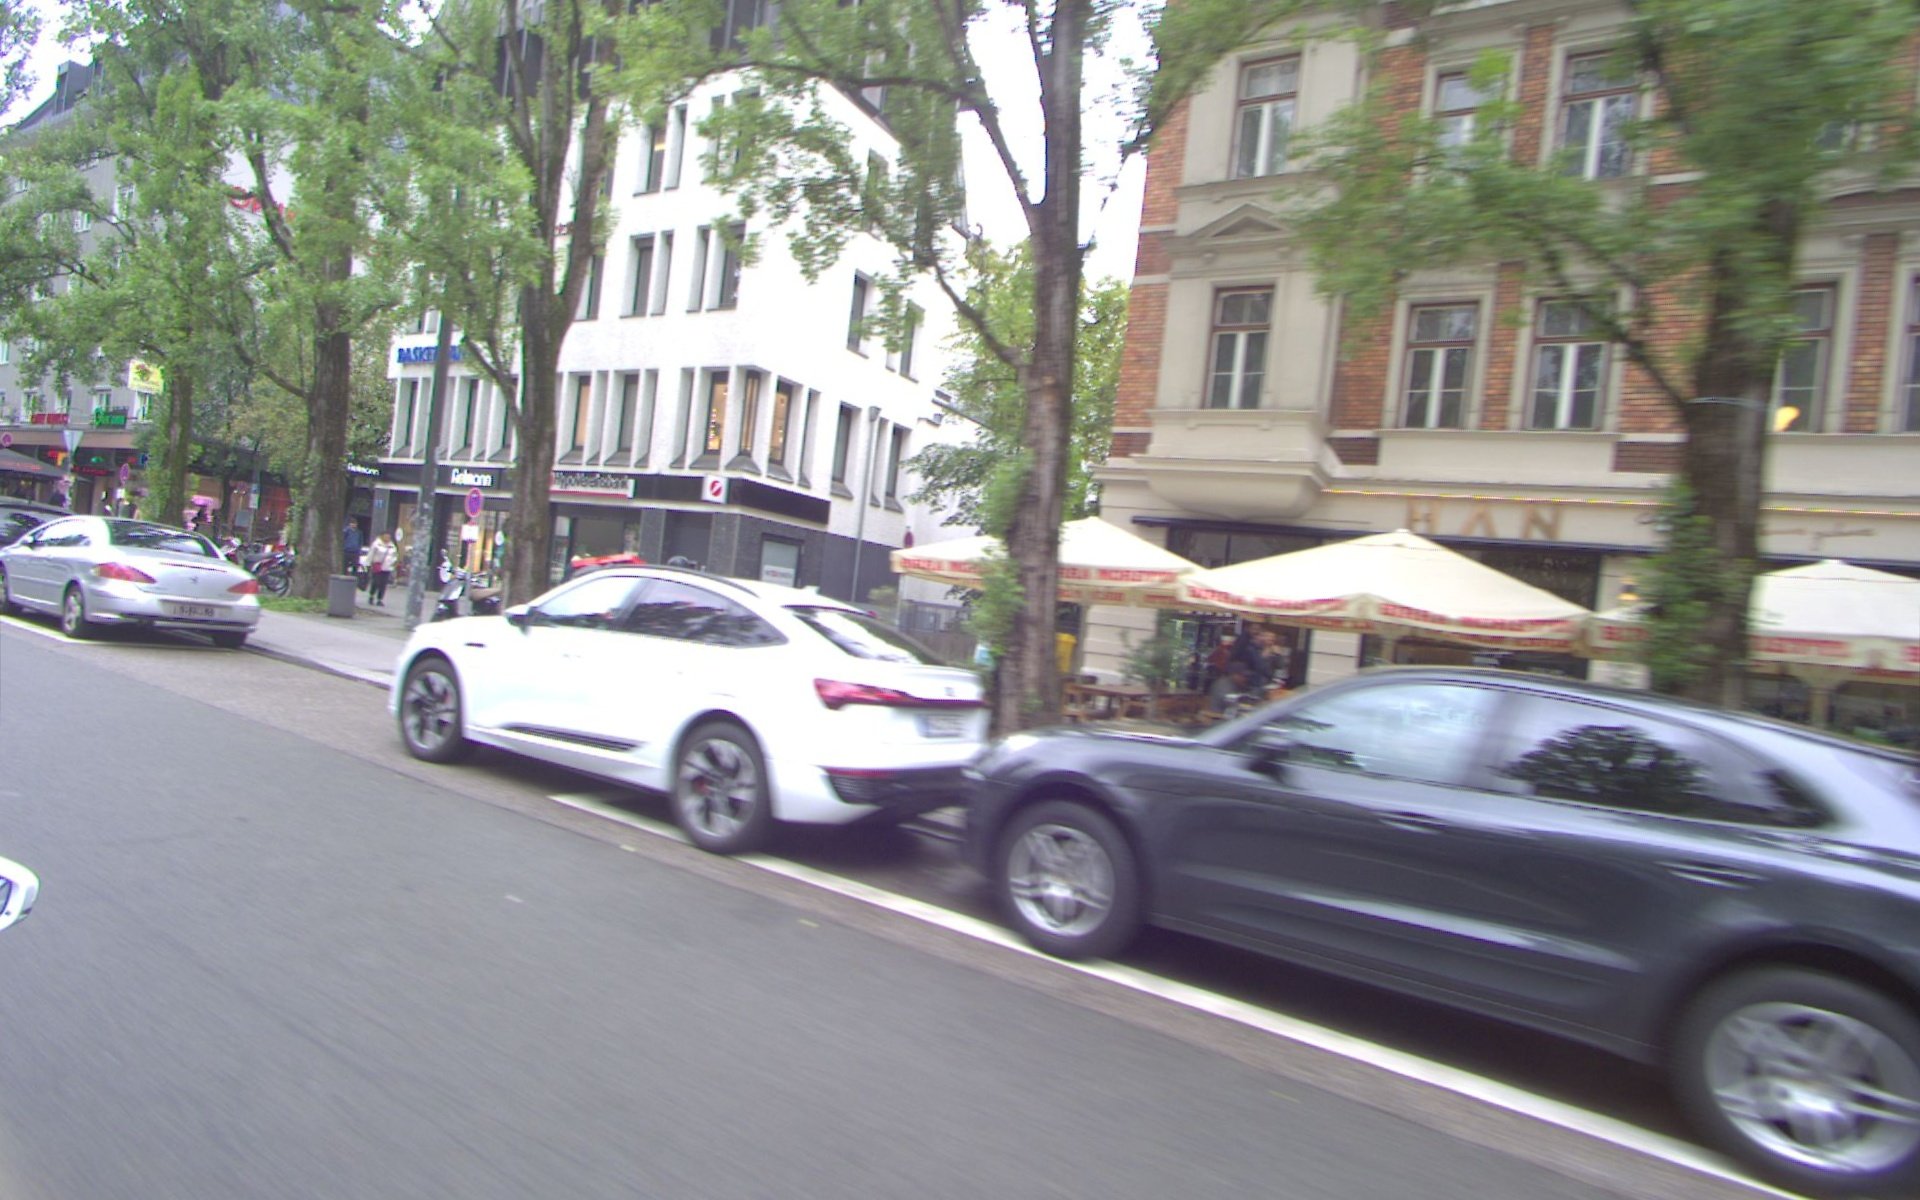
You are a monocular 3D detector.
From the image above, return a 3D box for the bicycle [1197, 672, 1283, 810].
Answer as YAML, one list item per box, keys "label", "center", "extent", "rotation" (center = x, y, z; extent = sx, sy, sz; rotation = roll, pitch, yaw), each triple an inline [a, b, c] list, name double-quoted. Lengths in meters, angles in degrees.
- label: "bicycle"
  center: [2.718, 1.289, 9.637]
  extent: [0.364, 1.153, 1.834]
  rotation: [7, 0, 25]

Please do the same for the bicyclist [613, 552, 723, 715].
- label: "bicyclist"
  center: [-3.081, 0.353, 10.633]
  extent: [0.740, 1.608, 0.622]
  rotation: [7, 1, 31]

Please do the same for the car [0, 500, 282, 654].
- label: "car"
  center: [-10.581, -0.325, 12.691]
  extent: [4.058, 1.422, 1.674]
  rotation: [7, -2, 31]

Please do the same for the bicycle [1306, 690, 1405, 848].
- label: "bicycle"
  center: [3.704, 1.491, 9.323]
  extent: [0.566, 1.207, 1.874]
  rotation: [7, 0, 27]

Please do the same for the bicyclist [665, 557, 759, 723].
- label: "bicyclist"
  center: [-2.529, 0.413, 10.298]
  extent: [0.473, 1.608, 0.622]
  rotation: [7, 1, 31]

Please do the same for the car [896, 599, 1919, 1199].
- label: "car"
  center: [2.142, 1.068, 4.816]
  extent: [4.408, 1.584, 1.996]
  rotation: [7, 0, 31]

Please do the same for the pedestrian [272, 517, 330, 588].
- label: "pedestrian"
  center: [-16.634, -1.187, 25.408]
  extent: [0.751, 1.646, 0.738]
  rotation: [7, -1, 11]

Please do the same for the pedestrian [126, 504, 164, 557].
- label: "pedestrian"
  center: [-29.377, -2.491, 36.243]
  extent: [0.845, 1.771, 0.655]
  rotation: [7, -1, 32]

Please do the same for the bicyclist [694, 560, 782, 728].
- label: "bicyclist"
  center: [-2.225, 0.447, 10.118]
  extent: [0.385, 1.608, 0.622]
  rotation: [7, 1, 31]

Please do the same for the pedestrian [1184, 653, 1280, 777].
- label: "pedestrian"
  center: [3.146, 1.298, 11.588]
  extent: [0.719, 1.283, 0.930]
  rotation: [7, 1, 30]

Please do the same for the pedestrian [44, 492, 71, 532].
- label: "pedestrian"
  center: [-37.420, -3.648, 41.713]
  extent: [0.476, 1.545, 0.641]
  rotation: [7, 1, 31]

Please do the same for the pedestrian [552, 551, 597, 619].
- label: "pedestrian"
  center: [-10.000, -0.388, 26.112]
  extent: [0.692, 1.647, 0.655]
  rotation: [7, 1, 29]

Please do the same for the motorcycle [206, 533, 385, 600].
- label: "motorcycle"
  center: [-14.703, -0.707, 22.417]
  extent: [1.172, 1.103, 3.127]
  rotation: [7, -1, 24]

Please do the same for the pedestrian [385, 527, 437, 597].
- label: "pedestrian"
  center: [-14.924, -1.029, 27.360]
  extent: [0.845, 1.771, 0.729]
  rotation: [7, -1, 29]

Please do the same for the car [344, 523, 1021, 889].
- label: "car"
  center: [-2.130, 0.543, 7.232]
  extent: [4.668, 1.640, 1.831]
  rotation: [7, -1, 31]

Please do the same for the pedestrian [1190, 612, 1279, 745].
- label: "pedestrian"
  center: [4.077, 1.152, 14.951]
  extent: [0.916, 1.825, 0.730]
  rotation: [7, 1, 32]

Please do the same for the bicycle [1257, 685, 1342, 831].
- label: "bicycle"
  center: [3.260, 1.442, 9.577]
  extent: [0.413, 1.207, 1.715]
  rotation: [7, 0, 27]

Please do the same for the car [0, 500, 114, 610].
- label: "car"
  center: [-14.763, -0.817, 15.334]
  extent: [3.523, 1.431, 1.685]
  rotation: [7, -2, 31]

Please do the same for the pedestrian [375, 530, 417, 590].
- label: "pedestrian"
  center: [-16.552, -1.177, 29.533]
  extent: [0.692, 1.647, 0.654]
  rotation: [7, 1, 29]

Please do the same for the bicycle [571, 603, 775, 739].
- label: "bicycle"
  center: [-3.055, 0.716, 10.598]
  extent: [2.225, 1.100, 0.627]
  rotation: [7, 1, 31]

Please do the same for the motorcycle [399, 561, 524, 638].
- label: "motorcycle"
  center: [-8.580, 0.021, 17.398]
  extent: [0.683, 1.153, 1.834]
  rotation: [6, 0, 25]

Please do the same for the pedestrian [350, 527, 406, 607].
- label: "pedestrian"
  center: [-12.712, -0.719, 21.975]
  extent: [0.693, 1.620, 0.655]
  rotation: [7, -1, 32]

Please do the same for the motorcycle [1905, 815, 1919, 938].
- label: "motorcycle"
  center: [7.124, 1.877, 6.613]
  extent: [0.683, 1.194, 1.834]
  rotation: [7, 0, 25]

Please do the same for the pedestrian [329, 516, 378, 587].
- label: "pedestrian"
  center: [-16.726, -1.324, 27.746]
  extent: [0.671, 1.834, 0.794]
  rotation: [7, 1, 29]

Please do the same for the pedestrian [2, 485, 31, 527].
- label: "pedestrian"
  center: [-37.947, -3.779, 40.450]
  extent: [0.476, 1.545, 0.641]
  rotation: [7, 1, 31]

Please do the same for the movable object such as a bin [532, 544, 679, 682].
- label: "movable object such as a bin"
  center: [-5.014, 0.184, 14.243]
  extent: [1.559, 1.724, 1.035]
  rotation: [7, 1, 28]

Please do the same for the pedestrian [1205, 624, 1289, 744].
- label: "pedestrian"
  center: [4.448, 1.284, 15.579]
  extent: [0.916, 1.698, 0.730]
  rotation: [7, 1, 32]

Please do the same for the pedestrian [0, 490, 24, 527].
- label: "pedestrian"
  center: [-40.831, -3.922, 43.199]
  extent: [0.667, 1.487, 0.685]
  rotation: [7, 1, 31]

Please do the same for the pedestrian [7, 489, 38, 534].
- label: "pedestrian"
  center: [-34.690, -3.261, 37.230]
  extent: [0.476, 1.545, 0.641]
  rotation: [7, 1, 31]
